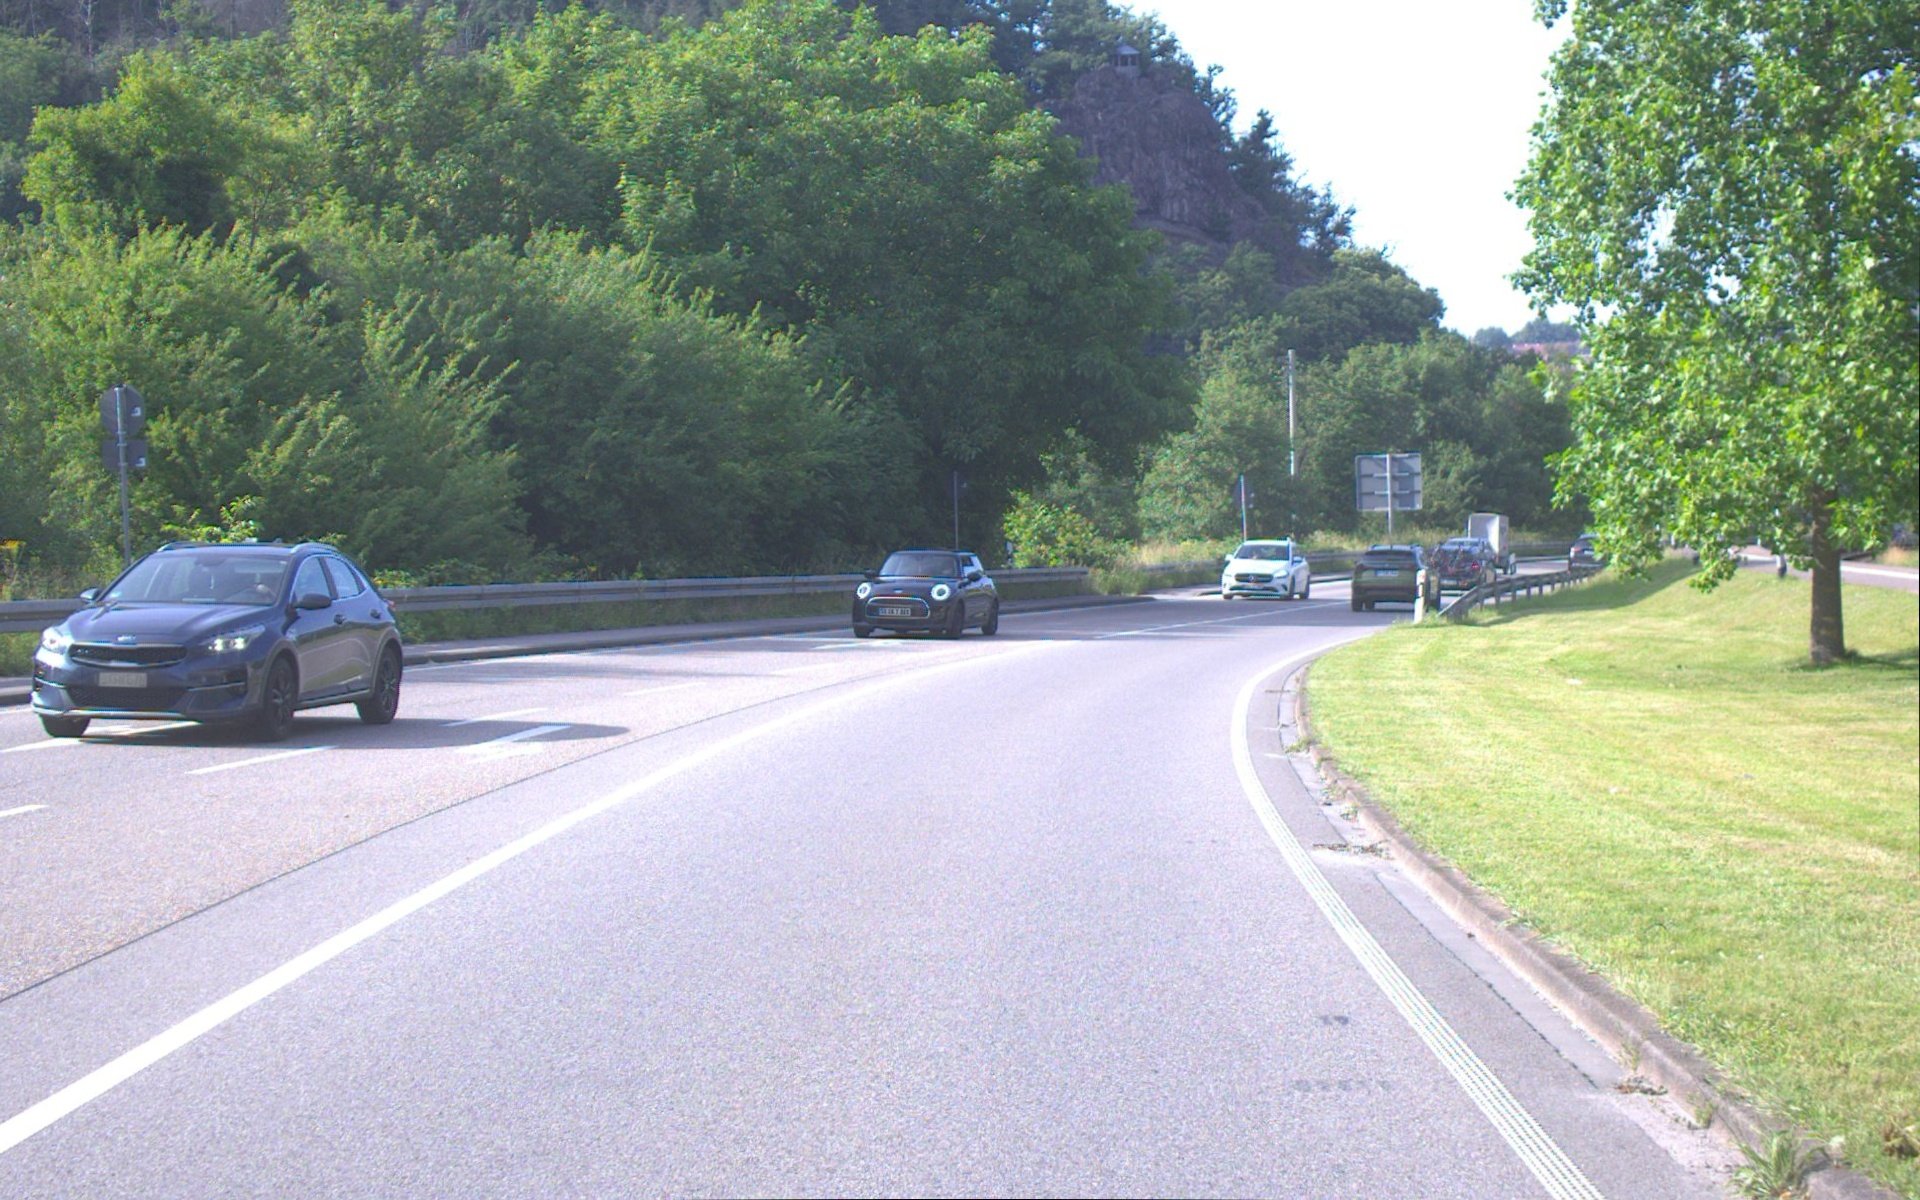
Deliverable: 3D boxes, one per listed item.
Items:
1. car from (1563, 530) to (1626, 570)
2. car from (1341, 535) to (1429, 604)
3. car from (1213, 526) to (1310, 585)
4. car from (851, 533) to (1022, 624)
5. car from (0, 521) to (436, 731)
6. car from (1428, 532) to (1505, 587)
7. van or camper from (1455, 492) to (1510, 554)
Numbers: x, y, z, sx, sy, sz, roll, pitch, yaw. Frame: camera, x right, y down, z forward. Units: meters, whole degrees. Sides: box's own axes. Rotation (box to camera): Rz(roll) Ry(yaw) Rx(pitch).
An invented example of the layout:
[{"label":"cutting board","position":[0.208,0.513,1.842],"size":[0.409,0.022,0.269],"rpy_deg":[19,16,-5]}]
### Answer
[{"label":"car","position":[24.354,-1.921,131.880],"size":[1.808,1.448,3.644],"rpy_deg":[-2,1,19]},{"label":"car","position":[9.668,-0.708,78.069],"size":[1.729,1.452,3.409],"rpy_deg":[-2,1,11]},{"label":"car","position":[7.900,-1.183,89.734],"size":[1.946,1.481,4.583],"rpy_deg":[1,2,12]},{"label":"car","position":[-0.333,-0.380,55.494],"size":[1.695,1.397,4.199],"rpy_deg":[0,1,15]},{"label":"car","position":[-5.695,0.134,26.806],"size":[1.852,1.464,4.541],"rpy_deg":[1,1,9]},{"label":"car","position":[14.425,-1.153,97.727],"size":[1.841,1.454,3.711],"rpy_deg":[-2,1,13]},{"label":"van or camper","position":[20.126,-2.982,132.365],"size":[1.604,2.320,4.057],"rpy_deg":[2,2,15]}]
